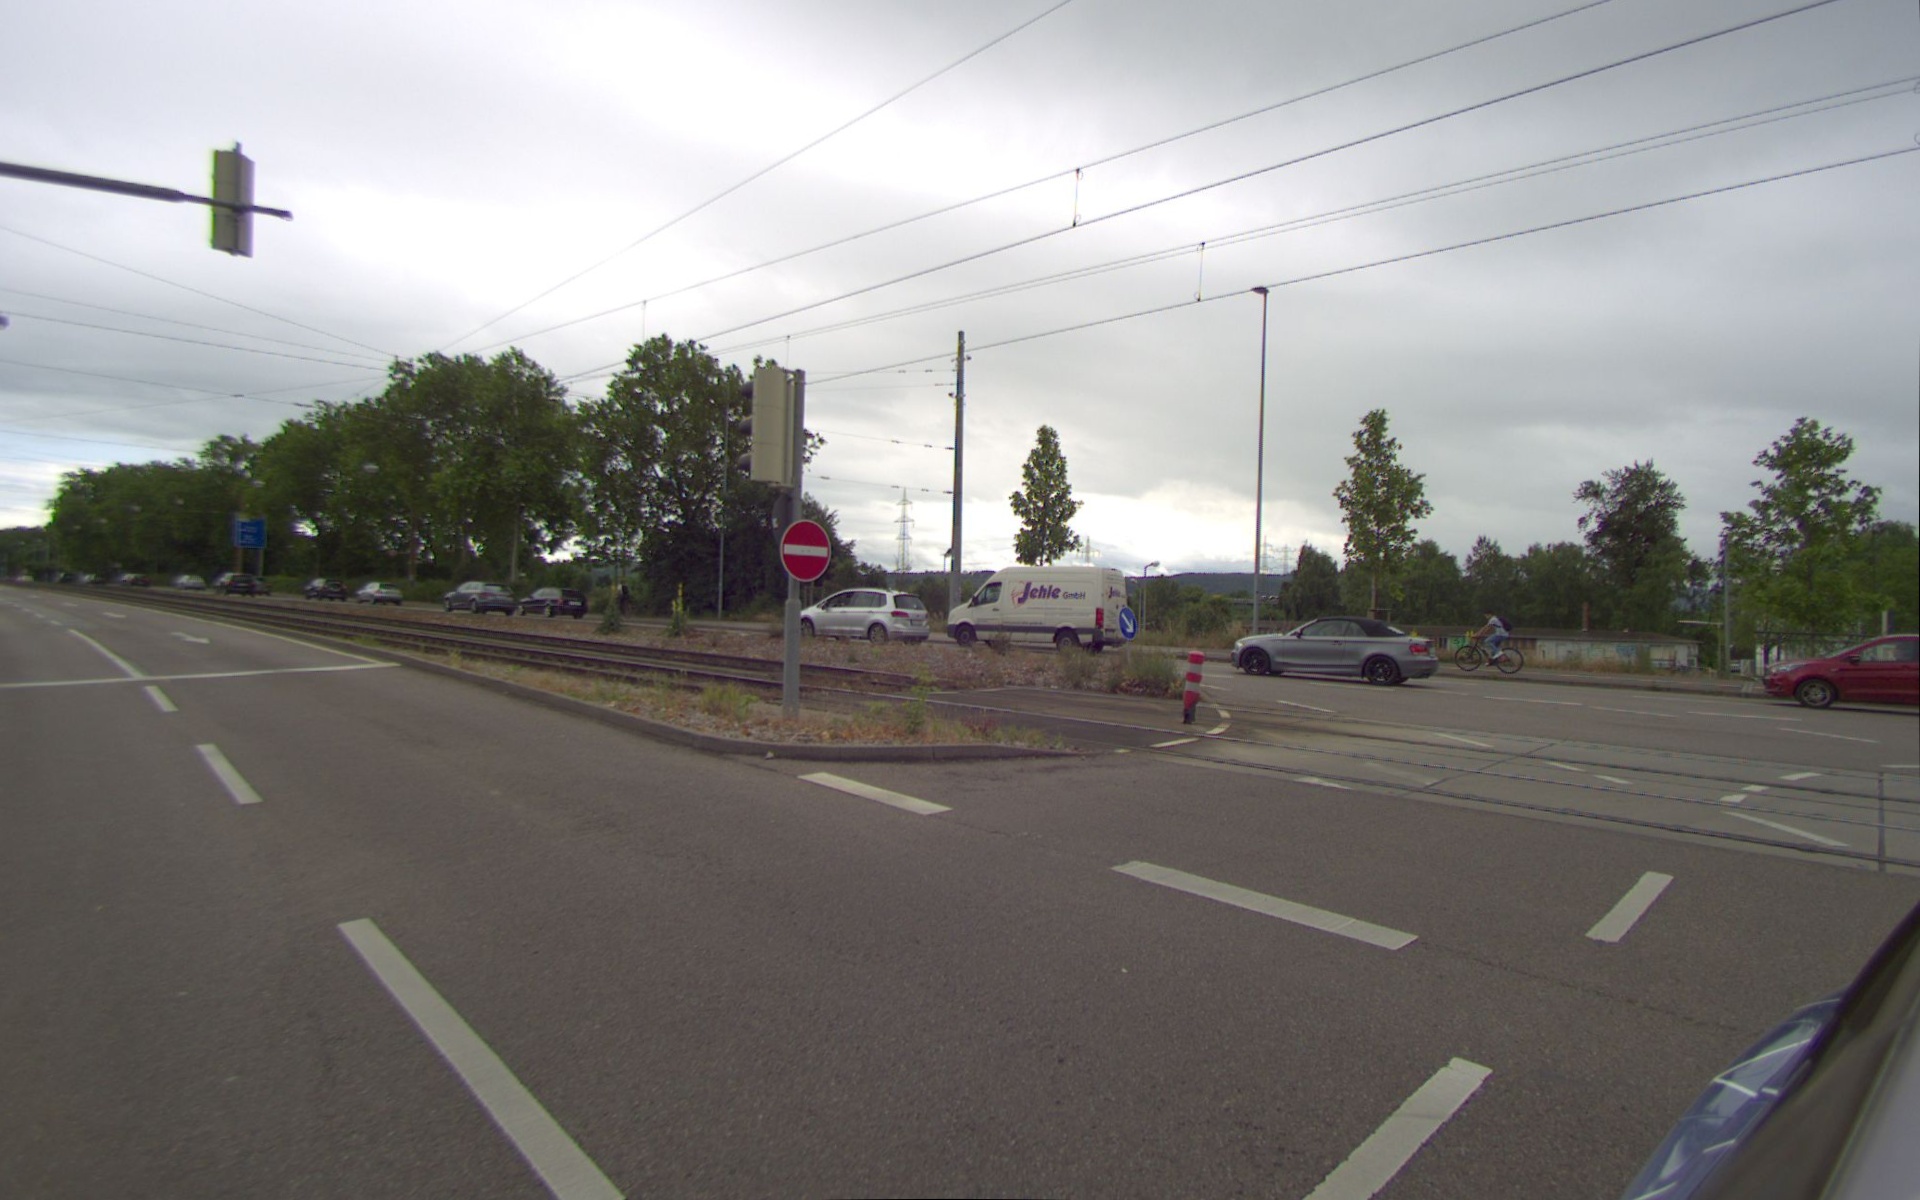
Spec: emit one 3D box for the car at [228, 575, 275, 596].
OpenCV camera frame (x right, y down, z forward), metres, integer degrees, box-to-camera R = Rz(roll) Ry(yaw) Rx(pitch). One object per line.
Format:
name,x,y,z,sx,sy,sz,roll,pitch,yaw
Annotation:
car,-58.743,-1.239,83.935,4.291,1.582,1.837,1,-3,36

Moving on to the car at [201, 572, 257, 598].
car,-50.112,-1.039,69.356,4.292,1.657,1.813,2,-1,37

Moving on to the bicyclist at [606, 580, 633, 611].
bicyclist,-16.768,-0.216,49.894,0.995,1.497,0.808,3,1,38

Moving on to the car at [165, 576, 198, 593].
car,-75.765,-1.478,98.475,3.656,1.500,1.793,0,-3,42

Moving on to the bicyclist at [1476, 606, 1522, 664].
bicyclist,14.458,0.927,27.140,0.962,1.471,0.683,2,2,37

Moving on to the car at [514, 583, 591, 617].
car,-19.358,-0.010,47.954,4.304,1.498,1.713,0,-3,44

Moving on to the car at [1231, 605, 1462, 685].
car,8.300,0.923,21.875,4.316,1.408,1.852,2,-1,35

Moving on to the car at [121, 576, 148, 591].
car,-88.580,-1.753,108.590,3.363,1.449,1.725,2,-2,43

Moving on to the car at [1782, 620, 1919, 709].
car,18.250,1.261,19.443,3.752,1.581,1.633,2,-2,38

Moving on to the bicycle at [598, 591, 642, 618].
bicycle,-16.798,0.224,49.956,2.510,1.200,0.808,3,1,38

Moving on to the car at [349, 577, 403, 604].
car,-37.103,-0.636,64.279,3.613,1.528,1.710,2,-2,38

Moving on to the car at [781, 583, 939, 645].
car,-2.831,0.379,28.424,4.172,1.572,1.838,2,-1,34

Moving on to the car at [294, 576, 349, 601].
car,-44.945,-0.788,71.201,4.294,1.582,1.836,1,-3,38

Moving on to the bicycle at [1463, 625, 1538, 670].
bicycle,14.495,1.262,27.167,1.699,1.058,0.542,3,2,37

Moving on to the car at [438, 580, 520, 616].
car,-21.154,-0.119,44.448,4.060,1.419,1.717,2,-1,41

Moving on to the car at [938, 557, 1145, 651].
car,2.490,0.106,31.658,5.858,2.659,2.632,2,-2,34
